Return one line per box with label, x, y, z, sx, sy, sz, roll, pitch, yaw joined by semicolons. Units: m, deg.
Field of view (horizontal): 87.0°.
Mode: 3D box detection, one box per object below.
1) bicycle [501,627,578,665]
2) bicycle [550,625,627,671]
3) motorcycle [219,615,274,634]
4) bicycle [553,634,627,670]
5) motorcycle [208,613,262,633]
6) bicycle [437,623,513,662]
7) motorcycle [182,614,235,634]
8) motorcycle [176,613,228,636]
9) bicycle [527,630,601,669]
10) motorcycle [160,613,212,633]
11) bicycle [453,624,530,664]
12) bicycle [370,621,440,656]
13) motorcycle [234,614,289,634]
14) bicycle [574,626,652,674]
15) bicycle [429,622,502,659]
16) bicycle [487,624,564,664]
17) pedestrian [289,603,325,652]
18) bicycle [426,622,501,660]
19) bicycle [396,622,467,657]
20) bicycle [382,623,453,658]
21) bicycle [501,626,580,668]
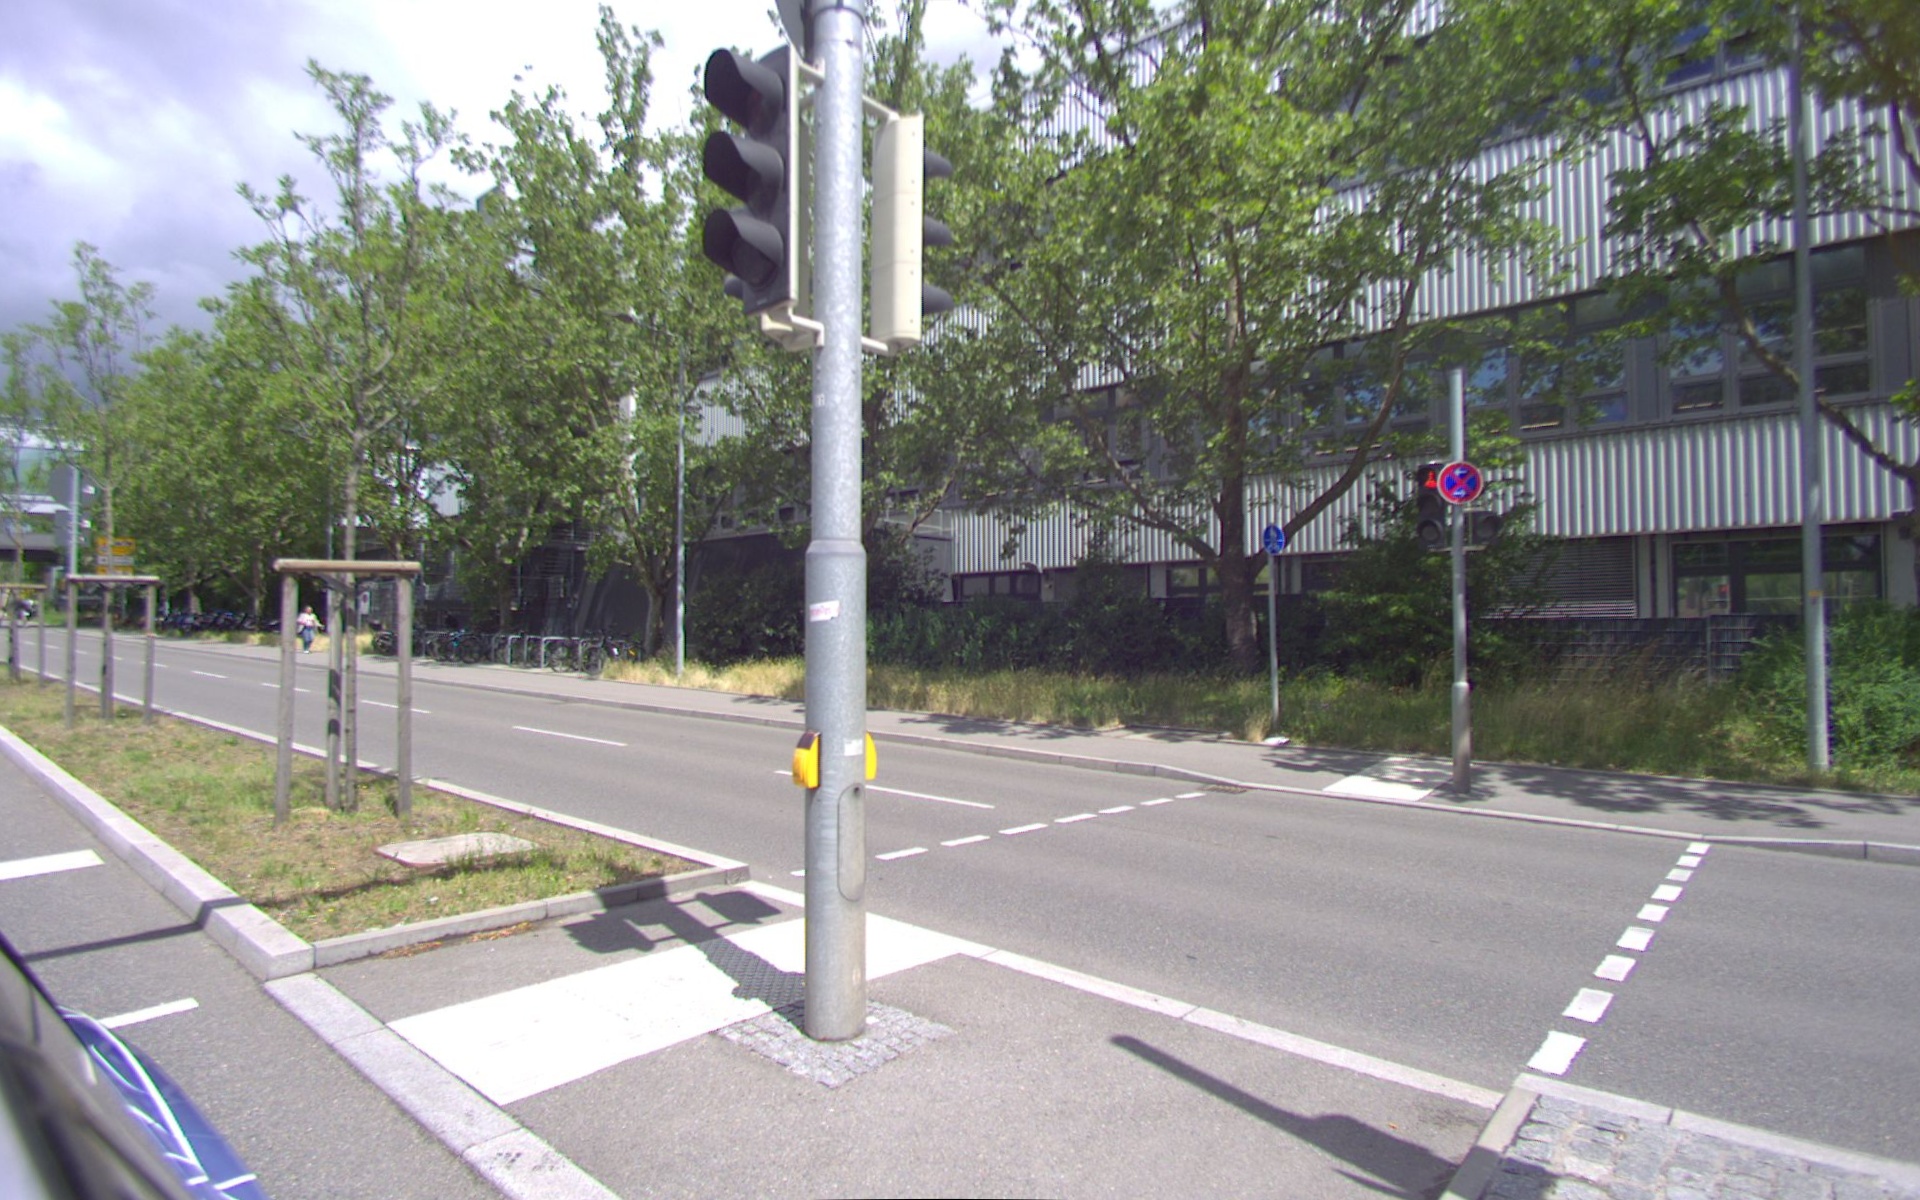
bicycle;-12.165;1.321;29.333;0.382;1.038;2.101;-1;-1;43
bicycle;-9.631;1.234;26.322;0.381;1.137;1.968;0;-1;39
motorcycle;-34.809;1.172;49.400;0.534;0.892;2.105;-1;-1;41
bicycle;-10.014;1.405;27.424;0.381;0.897;1.968;0;-1;39
motorcycle;-36.043;1.137;50.354;0.534;0.976;2.105;-1;-1;41
bicycle;-14.759;1.287;30.856;0.382;1.119;2.101;-1;-1;43
motorcycle;-37.945;1.216;51.140;0.534;0.976;2.105;-1;-1;41
motorcycle;-38.874;1.245;51.924;0.534;1.146;2.105;-1;-1;41
bicycle;-10.887;1.346;27.907;0.381;1.005;1.968;0;-1;39
motorcycle;-40.415;1.196;52.860;0.534;0.976;2.105;-1;-1;41
bicycle;-13.967;1.292;30.208;0.382;1.119;2.101;-1;-1;43
bicycle;-19.027;1.310;34.760;0.382;1.119;2.101;-1;-1;43
motorcycle;-33.277;1.142;48.237;0.534;0.905;2.105;-1;-1;41
bicycle;-8.750;1.255;25.602;0.381;1.137;1.968;0;-1;39
bicycle;-15.911;1.279;32.600;0.382;1.119;2.101;-1;-1;43
bicycle;-12.835;1.285;29.945;0.382;1.119;2.101;-1;-1;43
pedestrian;-23.199;0.970;35.941;0.672;1.733;0.888;0;-1;41
bicycle;-15.417;1.268;31.451;0.382;1.119;2.101;-1;-1;43
bicycle;-17.594;1.305;33.719;0.382;1.119;2.101;-1;-1;43
bicycle;-18.346;1.352;34.271;0.382;1.119;2.101;-1;-1;43
bicycle;-11.758;1.290;28.425;0.382;1.104;2.101;-1;-1;43
